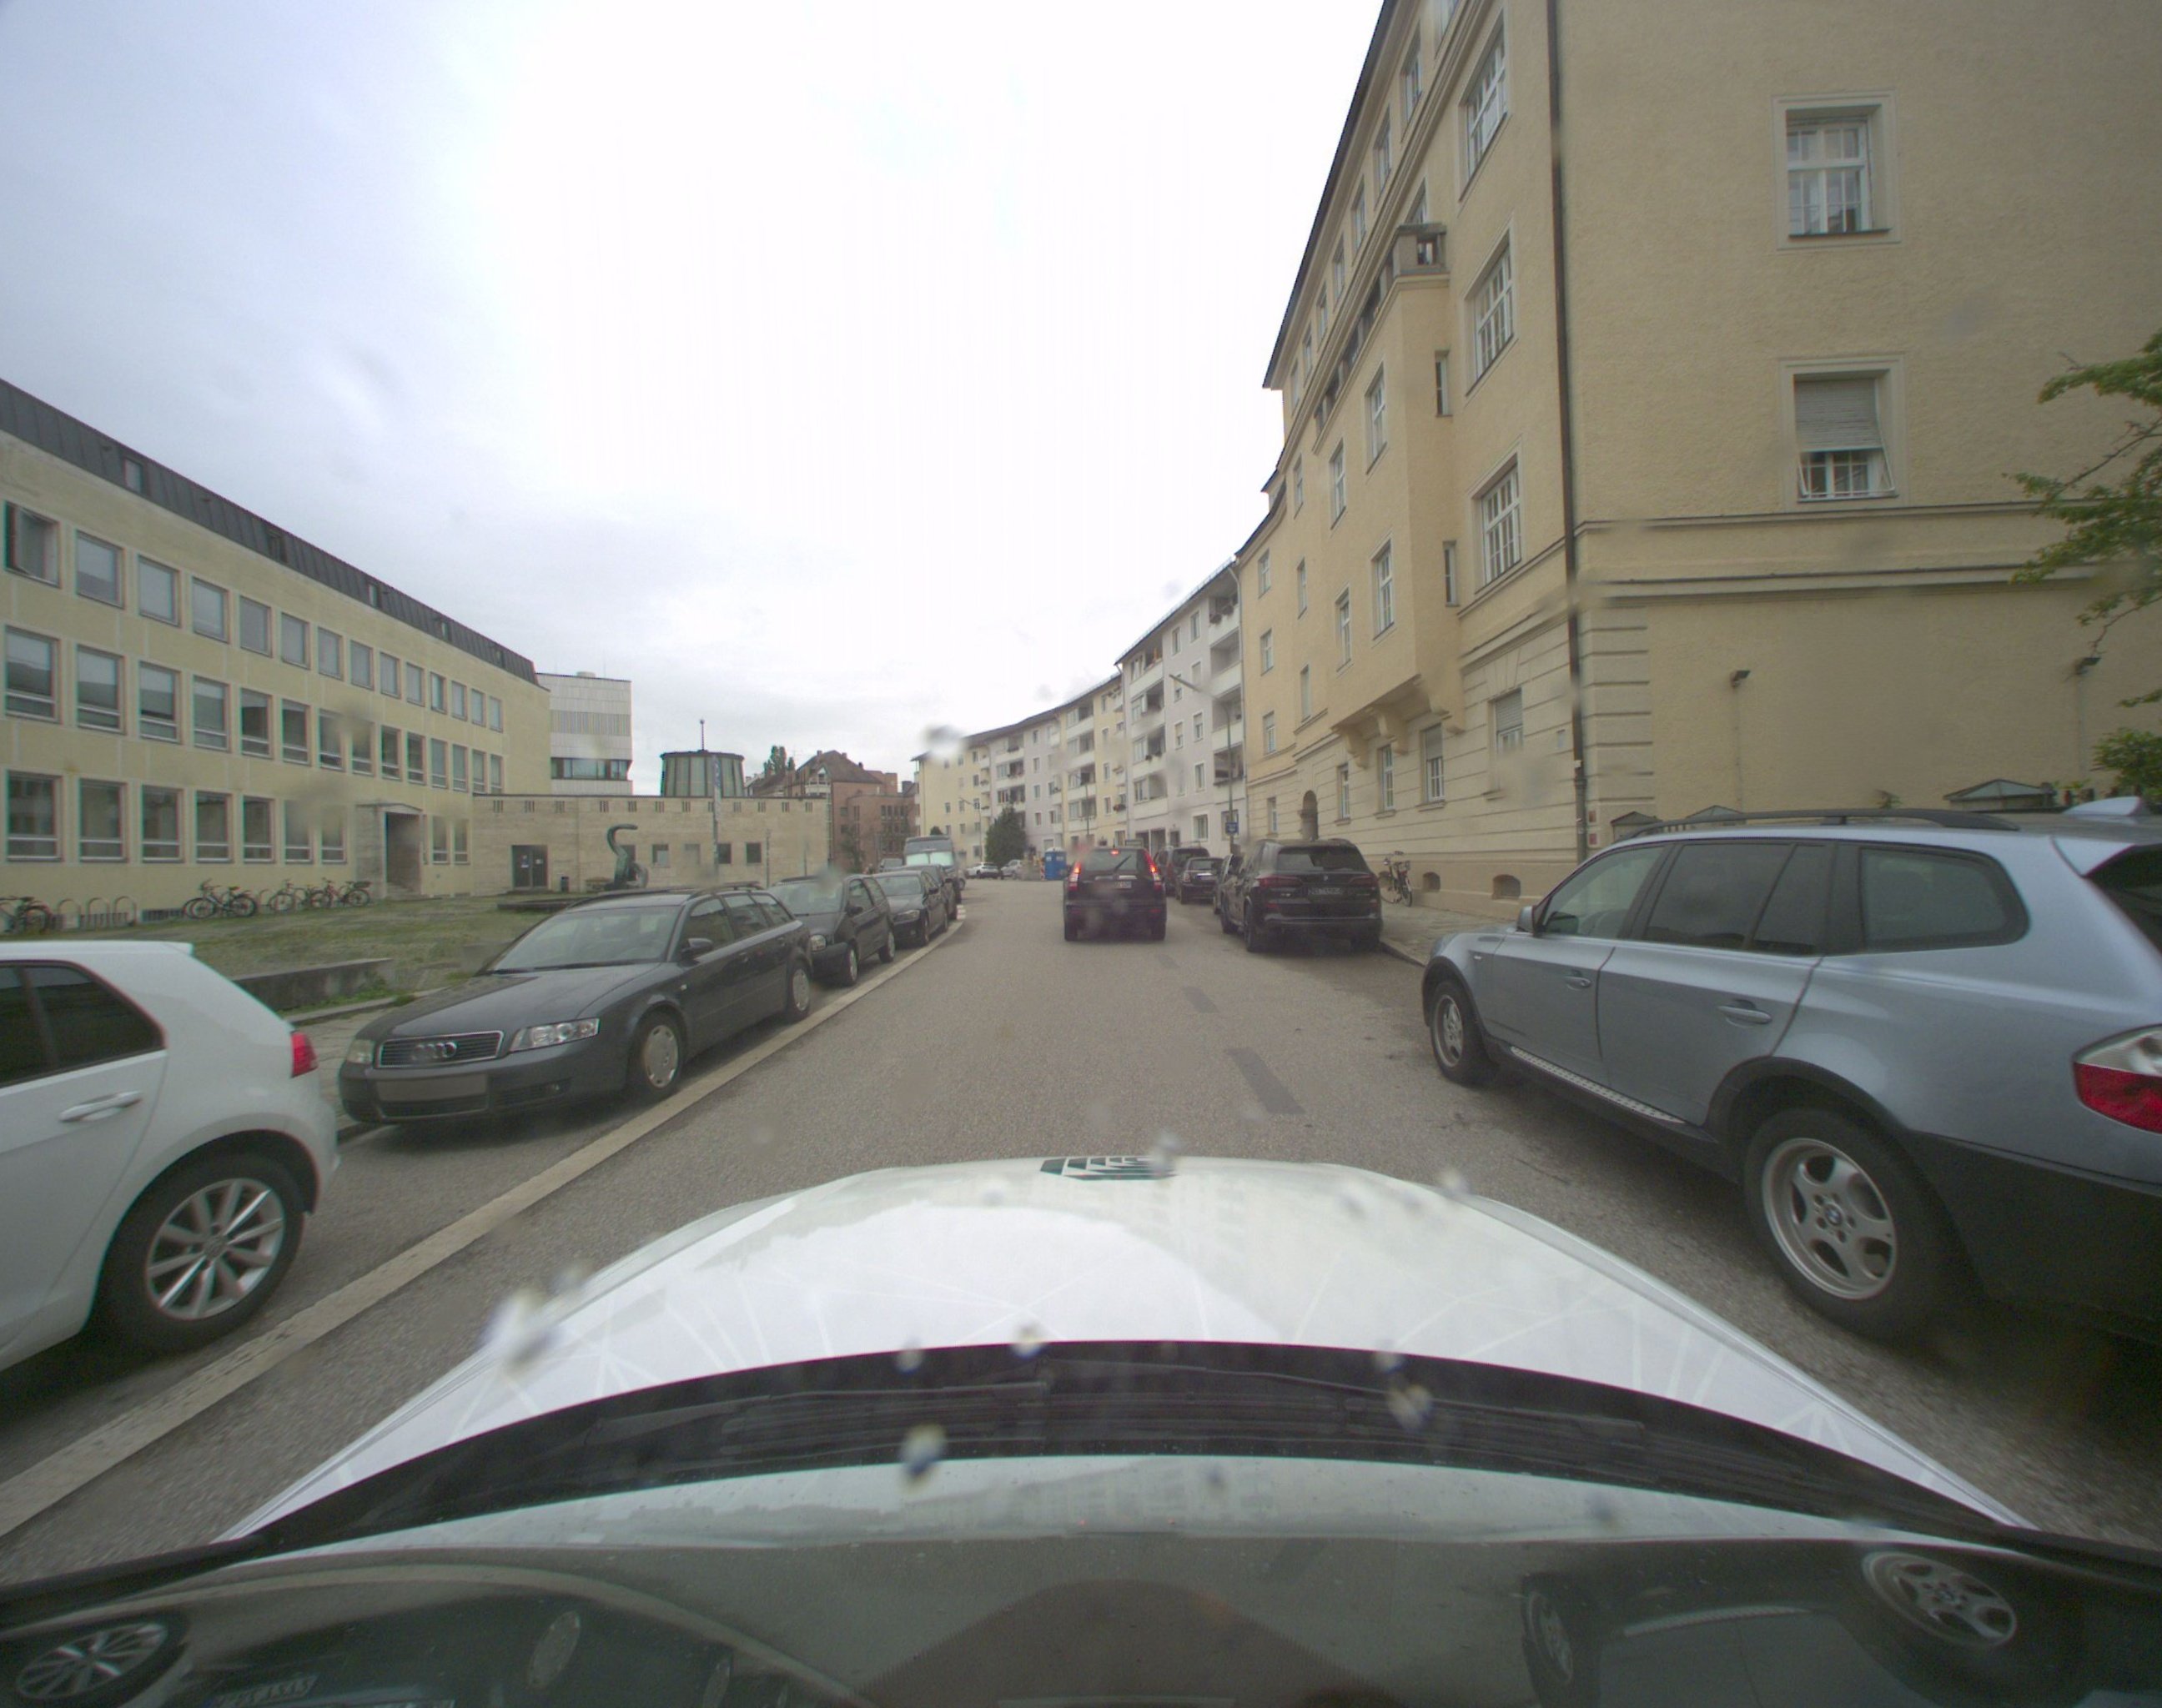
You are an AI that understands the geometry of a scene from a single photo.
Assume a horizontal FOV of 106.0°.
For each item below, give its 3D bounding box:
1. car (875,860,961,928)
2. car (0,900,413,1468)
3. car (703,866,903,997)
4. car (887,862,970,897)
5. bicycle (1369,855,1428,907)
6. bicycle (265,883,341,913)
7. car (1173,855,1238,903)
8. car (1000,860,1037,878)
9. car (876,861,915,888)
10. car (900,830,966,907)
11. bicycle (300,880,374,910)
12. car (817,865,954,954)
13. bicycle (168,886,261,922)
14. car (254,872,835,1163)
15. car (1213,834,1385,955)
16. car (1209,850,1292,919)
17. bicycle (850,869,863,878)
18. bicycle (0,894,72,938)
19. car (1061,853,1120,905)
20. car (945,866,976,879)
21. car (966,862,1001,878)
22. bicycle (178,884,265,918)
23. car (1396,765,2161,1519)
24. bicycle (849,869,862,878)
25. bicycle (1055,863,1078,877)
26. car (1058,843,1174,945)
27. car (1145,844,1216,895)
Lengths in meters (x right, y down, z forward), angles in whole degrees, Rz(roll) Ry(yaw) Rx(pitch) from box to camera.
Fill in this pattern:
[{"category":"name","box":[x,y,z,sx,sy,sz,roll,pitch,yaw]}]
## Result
[{"category":"car","box":[-4.049,0.947,20.667,1.667,1.502,2.973,-3,0,-4]},{"category":"car","box":[-3.748,0.964,1.493,1.652,1.453,4.071,-3,0,-1]},{"category":"car","box":[-3.731,0.959,11.532,1.652,1.453,3.311,-3,0,-1]},{"category":"car","box":[-8.189,1.353,43.968,1.663,1.481,4.112,-7,-1,41]},{"category":"bicycle","box":[7.246,0.594,18.693,0.577,1.083,1.954,-4,0,2]},{"category":"bicycle","box":[-28.247,1.586,29.592,1.949,1.014,0.623,-1,0,-13]},{"category":"car","box":[3.926,0.762,26.170,1.701,1.447,3.833,0,-1,3]},{"category":"car","box":[-5.225,1.246,67.941,1.733,1.483,3.966,-1,0,-26]},{"category":"car","box":[-12.585,1.400,55.031,1.687,1.707,4.476,-1,-1,-25]},{"category":"car","box":[-5.875,0.522,31.976,2.166,2.641,5.992,-3,0,-12]},{"category":"bicycle","box":[-28.308,1.553,31.016,1.953,1.014,0.621,-1,0,-20]},{"category":"car","box":[-3.753,0.996,16.450,1.795,1.406,4.451,-3,0,-3]},{"category":"bicycle","box":[-27.393,1.562,25.773,1.950,1.014,0.622,-1,0,-15]},{"category":"car","box":[-3.684,0.964,6.772,1.748,1.453,4.397,-3,0,1]},{"category":"car","box":[3.504,0.597,14.069,1.861,1.717,4.868,0,0,2]},{"category":"car","box":[4.020,0.692,19.727,1.528,1.524,3.113,0,-1,3]},{"category":"bicycle","box":[-33.583,2.957,121.829,1.764,1.288,0.548,-1,-1,-29]},{"category":"bicycle","box":[-26.540,1.552,20.244,1.943,1.014,0.624,-1,0,-5]},{"category":"car","box":[0.233,0.759,26.204,1.675,1.481,4.082,-1,-1,-2]},{"category":"car","box":[-12.008,1.824,81.066,1.709,1.236,3.565,-1,0,-32]},{"category":"car","box":[-9.195,1.512,76.781,1.736,1.483,3.960,-1,0,-32]},{"category":"bicycle","box":[-27.947,1.533,26.504,1.946,1.014,0.623,-1,0,-9]},{"category":"car","box":[3.227,0.619,3.994,1.716,1.634,4.459,-2,-1,2]},{"category":"bicycle","box":[-33.892,2.996,122.413,1.764,1.288,0.548,-1,-1,-29]},{"category":"bicycle","box":[-1.280,1.383,70.747,1.872,1.091,0.562,-1,-1,-20]},{"category":"car","box":[0.553,0.681,15.512,1.885,1.647,3.989,-1,-1,-1]},{"category":"car","box":[3.689,0.577,31.021,1.775,1.807,4.266,0,-1,-6]}]
